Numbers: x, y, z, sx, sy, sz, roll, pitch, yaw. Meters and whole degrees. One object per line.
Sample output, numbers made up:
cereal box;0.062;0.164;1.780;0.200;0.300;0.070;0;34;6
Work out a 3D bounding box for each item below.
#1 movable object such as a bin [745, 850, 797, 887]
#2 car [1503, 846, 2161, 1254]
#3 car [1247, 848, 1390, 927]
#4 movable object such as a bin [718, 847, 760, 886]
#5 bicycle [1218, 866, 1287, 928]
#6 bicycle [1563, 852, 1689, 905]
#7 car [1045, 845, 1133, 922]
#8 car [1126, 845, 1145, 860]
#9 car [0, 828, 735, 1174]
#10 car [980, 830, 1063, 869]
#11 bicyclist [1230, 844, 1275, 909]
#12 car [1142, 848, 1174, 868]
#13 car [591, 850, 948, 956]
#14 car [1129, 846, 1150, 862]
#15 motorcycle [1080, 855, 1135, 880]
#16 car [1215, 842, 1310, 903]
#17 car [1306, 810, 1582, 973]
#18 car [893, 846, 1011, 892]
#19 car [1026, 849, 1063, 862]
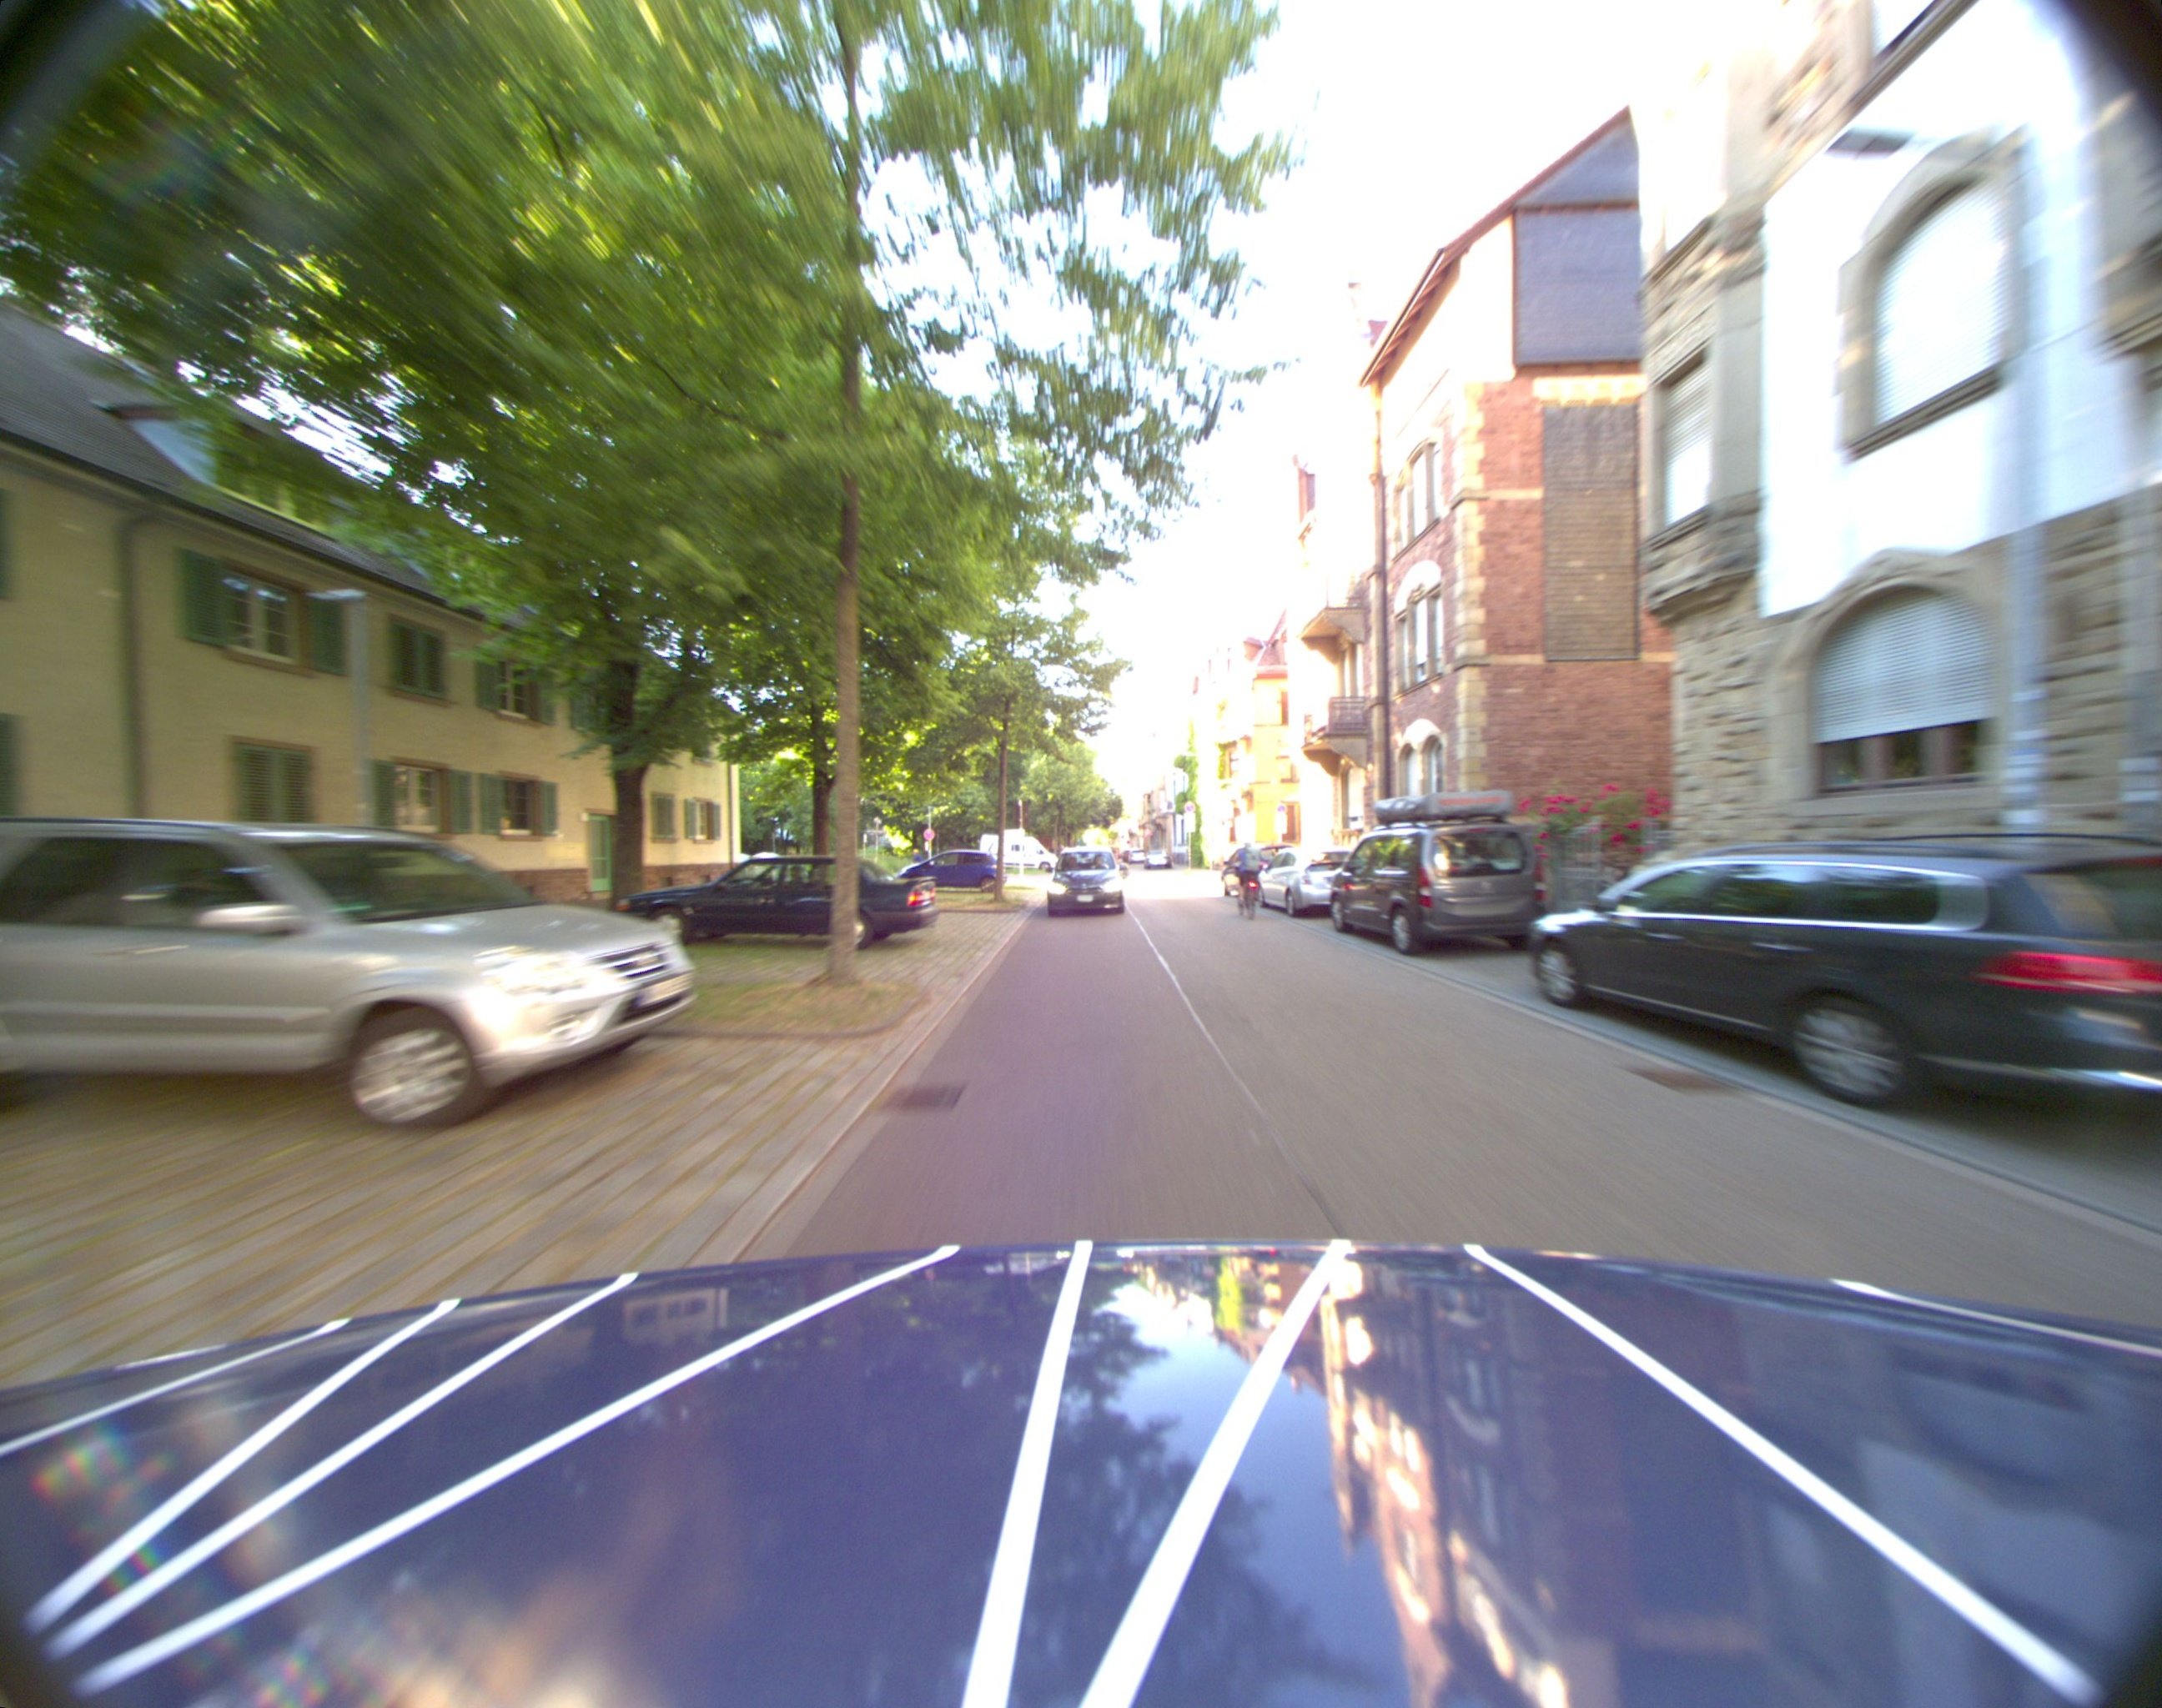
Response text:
movable object such as a bin;-14.707;0.678;36.091;1.638;1.648;1.592;-1;2;8
car;5.143;0.789;5.445;1.733;1.565;4.707;-1;2;2
car;5.218;0.650;17.330;1.734;1.490;4.454;-2;1;-1
movable object such as a bin;-16.289;0.593;36.214;1.384;1.817;1.151;-1;2;8
bicycle;3.619;0.872;16.286;0.755;1.171;2.620;0;0;-3
bicycle;11.450;0.500;15.974;2.358;1.073;0.610;-1;1;-7
car;0.178;0.614;19.070;1.889;1.613;4.617;-2;1;0
car;6.324;-0.200;88.047;1.998;1.616;4.143;-1;2;2
car;-4.877;0.723;4.761;4.487;1.660;1.942;2;0;-1
car;-4.100;-0.354;53.110;5.628;2.600;2.238;-1;2;-1
bicyclist;3.627;0.470;16.120;0.667;1.337;1.060;0;0;-3
car;5.827;0.262;57.969;1.881;1.397;4.925;-3;1;0
car;-4.746;0.720;12.173;4.906;1.434;1.941;1;2;-1
car;6.075;-0.067;79.405;1.867;1.538;3.791;-1;2;0
motorcycle;1.290;0.651;36.188;2.516;1.095;0.987;-1;1;7
car;5.388;0.505;23.076;1.734;1.612;4.257;-2;0;-1
car;5.212;0.452;11.735;1.974;1.963;4.496;-2;1;-1
car;-4.612;0.530;27.642;3.997;1.547;1.999;0;2;-1
car;-3.902;0.149;82.235;3.878;1.249;1.785;-1;2;-1
